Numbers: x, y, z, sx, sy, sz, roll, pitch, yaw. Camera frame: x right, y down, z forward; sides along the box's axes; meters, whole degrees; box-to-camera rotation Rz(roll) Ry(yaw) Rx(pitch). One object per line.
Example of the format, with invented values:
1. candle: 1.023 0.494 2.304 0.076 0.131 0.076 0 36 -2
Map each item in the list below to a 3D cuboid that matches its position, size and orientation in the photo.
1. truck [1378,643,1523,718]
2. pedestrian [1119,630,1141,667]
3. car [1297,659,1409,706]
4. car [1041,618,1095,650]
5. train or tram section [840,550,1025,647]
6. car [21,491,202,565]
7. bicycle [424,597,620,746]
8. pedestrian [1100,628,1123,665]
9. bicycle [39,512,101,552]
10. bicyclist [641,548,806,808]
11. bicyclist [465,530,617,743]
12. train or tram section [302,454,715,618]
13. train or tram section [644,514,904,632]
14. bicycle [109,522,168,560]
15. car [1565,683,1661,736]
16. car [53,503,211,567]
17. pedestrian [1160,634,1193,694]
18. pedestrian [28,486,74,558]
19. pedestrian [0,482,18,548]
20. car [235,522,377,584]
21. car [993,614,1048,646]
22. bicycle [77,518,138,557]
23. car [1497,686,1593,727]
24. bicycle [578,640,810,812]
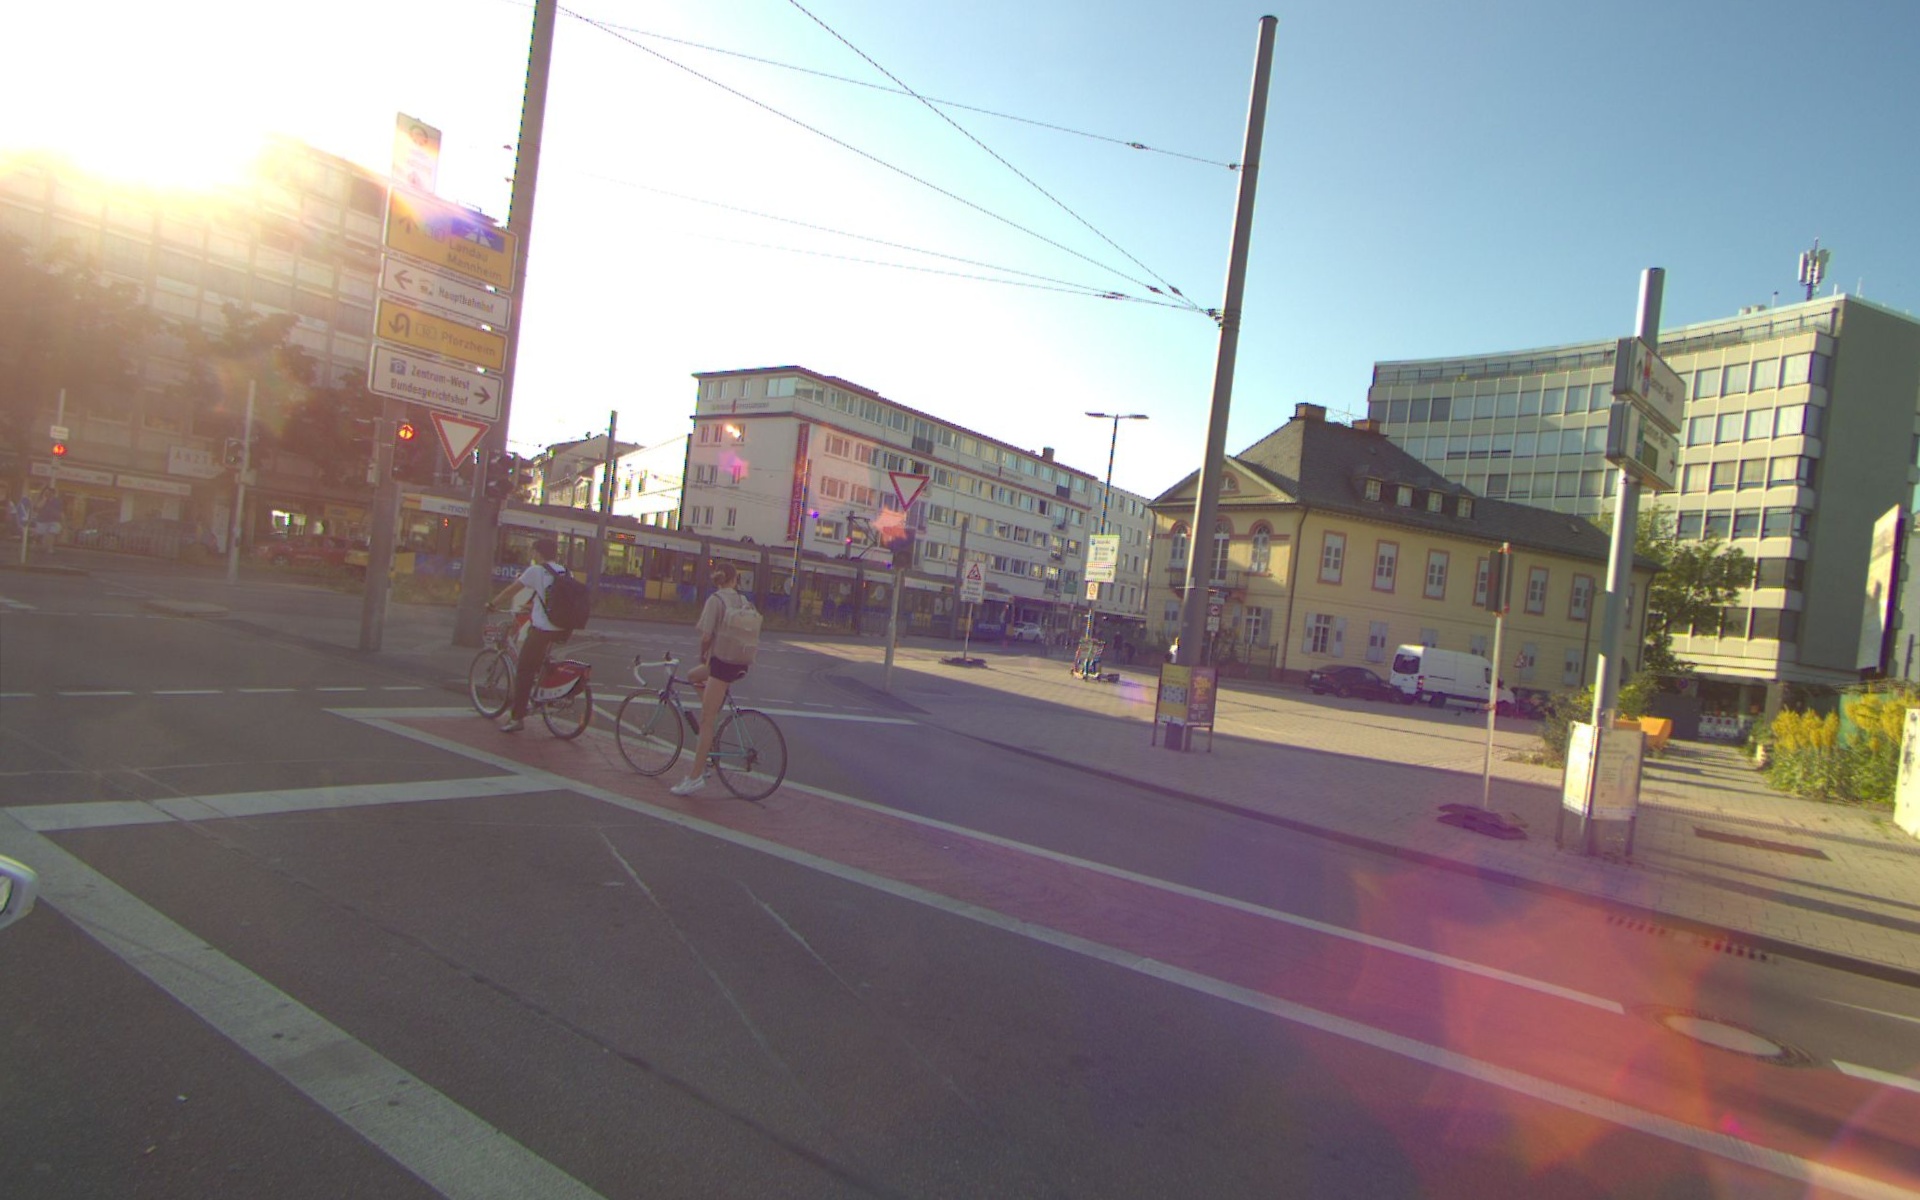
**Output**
1. truck: 21.829 3.579 44.803 5.556 2.578 2.294 8 -2 -17
2. pedestrian: 8.120 2.332 47.962 0.802 1.661 0.687 7 -1 15
3. car: 16.618 3.485 42.589 4.133 1.380 1.709 8 -2 -17
4. car: 8.930 2.787 82.755 1.970 2.036 4.858 6 -2 38
5. train or tram section: -1.149 0.132 57.487 3.655 3.877 12.960 6 -2 32
6. car: -26.881 -2.258 31.988 1.816 1.636 3.990 6 -2 36
7. bicycle: -4.040 0.635 9.245 1.777 1.113 0.543 6 -1 27
8. pedestrian: 7.244 2.230 48.005 0.802 1.661 0.687 7 -1 16
9. bicycle: -34.500 -2.631 38.978 2.594 1.157 0.751 9 0 26
10. bicyclist: -1.750 0.564 7.479 0.778 1.766 0.615 7 -1 27
11. bicyclist: -3.818 0.321 9.171 1.042 1.789 0.543 7 -1 27
12. train or tram section: -15.025 -1.885 35.586 3.654 3.880 13.333 6 -1 32
13. train or tram section: -8.066 -0.992 46.597 3.656 3.880 12.949 6 -1 33
14. bicycle: -33.433 -2.403 40.935 2.594 1.157 0.751 9 0 26
15. car: 31.148 5.207 47.974 3.706 2.003 1.709 8 -2 -17
16. car: -30.312 -2.347 36.941 1.816 1.636 4.071 6 -2 36
17. pedestrian: 6.833 2.013 31.740 0.746 1.783 1.009 7 -1 16
18. pedestrian: -24.513 -2.096 27.125 1.029 1.814 0.694 6 -1 45
19. pedestrian: -25.710 -2.289 26.803 1.029 1.702 0.694 6 -1 45
20. car: -24.471 -1.740 37.763 1.816 1.636 3.990 6 -2 36
21. car: 5.034 2.511 83.385 1.970 2.036 4.858 6 -2 38
22. bicycle: -33.922 -2.504 40.023 2.594 1.157 0.751 9 0 26
23. car: 27.090 4.929 46.586 3.706 1.380 1.709 8 -2 -17
24. bicycle: -2.037 0.916 7.638 1.664 1.013 0.543 6 -1 27
